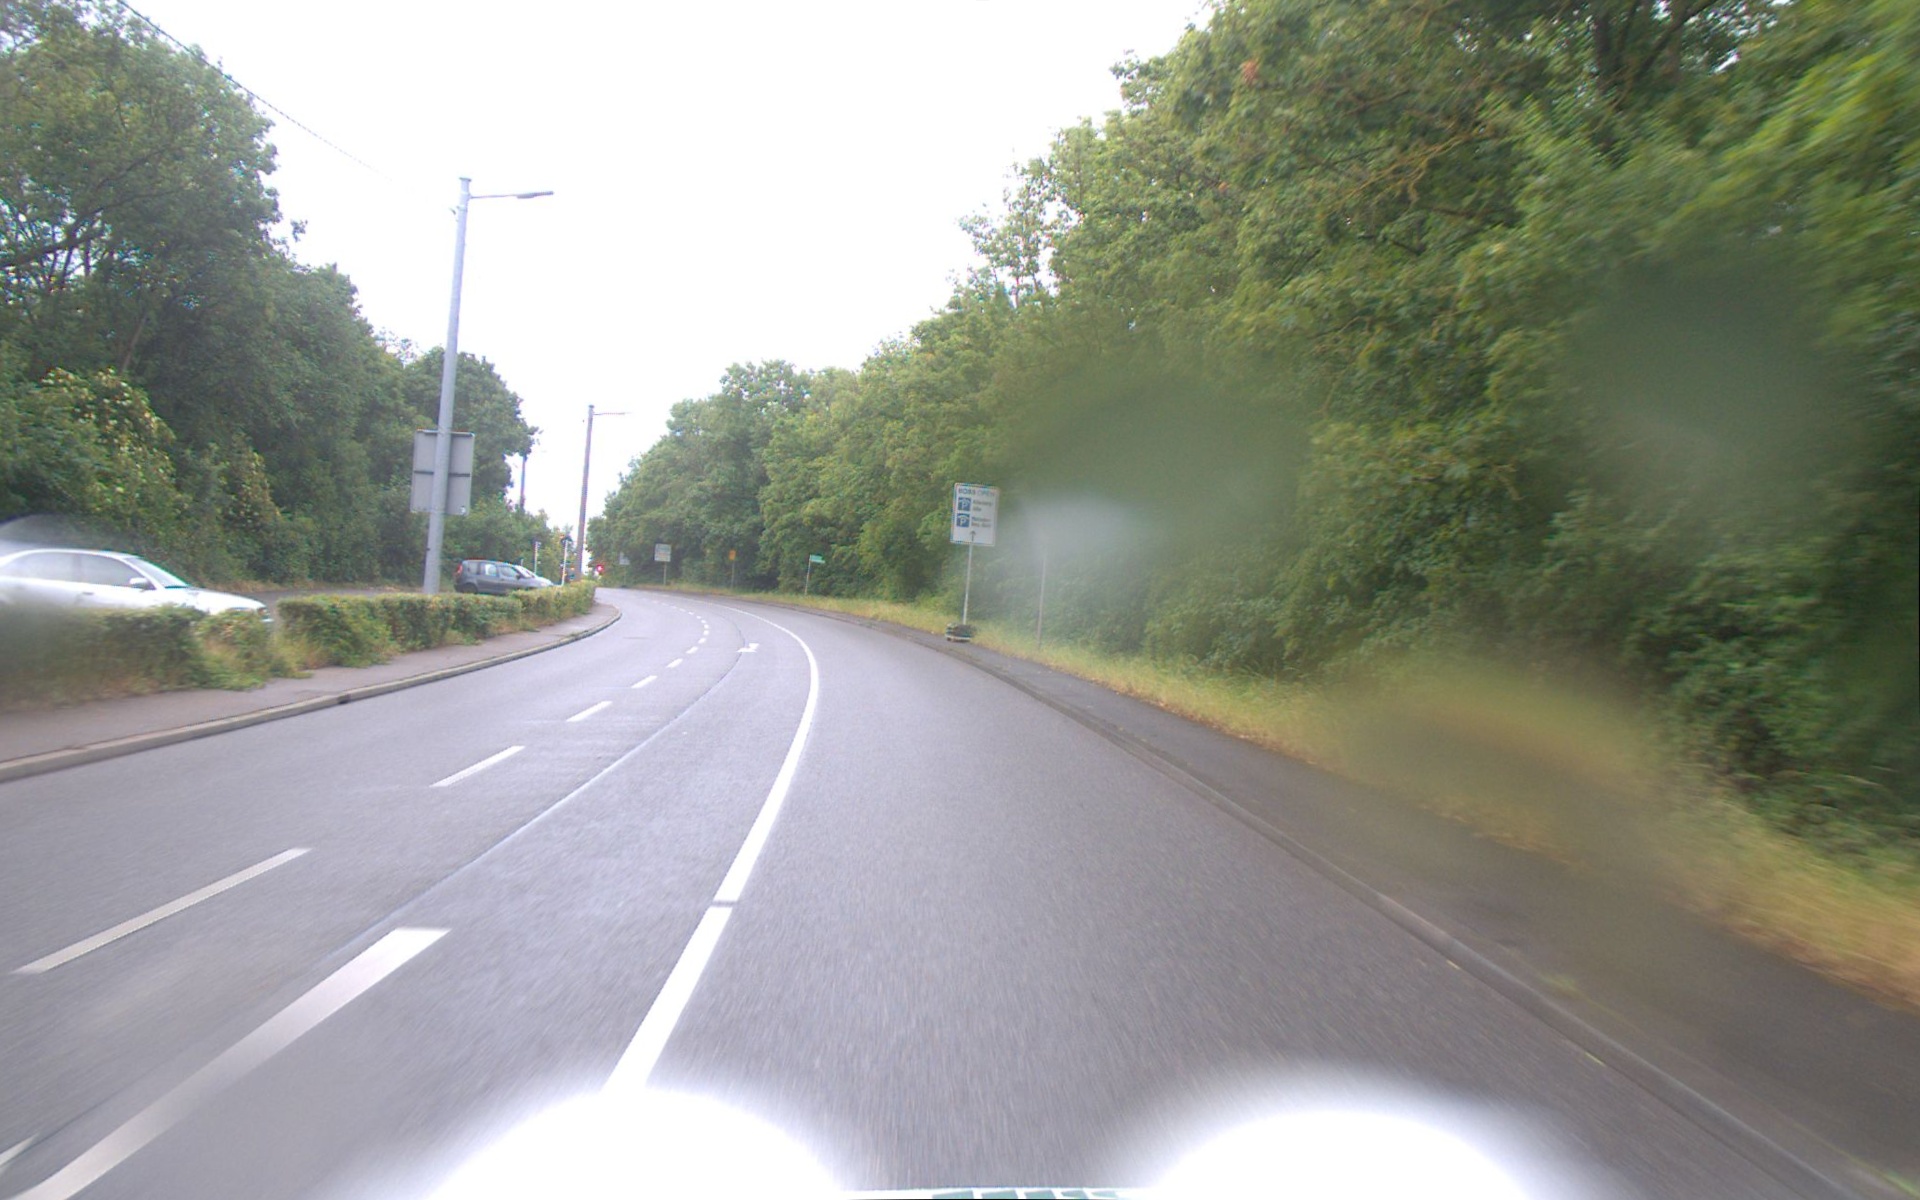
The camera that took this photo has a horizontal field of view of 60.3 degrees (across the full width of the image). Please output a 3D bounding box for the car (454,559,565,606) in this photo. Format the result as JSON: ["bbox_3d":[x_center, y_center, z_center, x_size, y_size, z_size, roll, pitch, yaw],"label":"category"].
[{"bbox_3d":[-19.041,-0.741,70.029,4.210,1.738,1.997,3,0,-8],"label":"car"}]

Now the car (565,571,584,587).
[{"bbox_3d":[-40.836,-2.229,175.021,1.902,1.524,4.303,2,0,-14],"label":"car"}]

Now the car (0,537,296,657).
[{"bbox_3d":[-12.349,-0.063,24.237,4.493,1.532,1.995,3,0,-11],"label":"car"}]

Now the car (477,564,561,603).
[{"bbox_3d":[-20.133,-0.762,75.564,3.584,1.619,1.845,3,0,-15],"label":"car"}]
